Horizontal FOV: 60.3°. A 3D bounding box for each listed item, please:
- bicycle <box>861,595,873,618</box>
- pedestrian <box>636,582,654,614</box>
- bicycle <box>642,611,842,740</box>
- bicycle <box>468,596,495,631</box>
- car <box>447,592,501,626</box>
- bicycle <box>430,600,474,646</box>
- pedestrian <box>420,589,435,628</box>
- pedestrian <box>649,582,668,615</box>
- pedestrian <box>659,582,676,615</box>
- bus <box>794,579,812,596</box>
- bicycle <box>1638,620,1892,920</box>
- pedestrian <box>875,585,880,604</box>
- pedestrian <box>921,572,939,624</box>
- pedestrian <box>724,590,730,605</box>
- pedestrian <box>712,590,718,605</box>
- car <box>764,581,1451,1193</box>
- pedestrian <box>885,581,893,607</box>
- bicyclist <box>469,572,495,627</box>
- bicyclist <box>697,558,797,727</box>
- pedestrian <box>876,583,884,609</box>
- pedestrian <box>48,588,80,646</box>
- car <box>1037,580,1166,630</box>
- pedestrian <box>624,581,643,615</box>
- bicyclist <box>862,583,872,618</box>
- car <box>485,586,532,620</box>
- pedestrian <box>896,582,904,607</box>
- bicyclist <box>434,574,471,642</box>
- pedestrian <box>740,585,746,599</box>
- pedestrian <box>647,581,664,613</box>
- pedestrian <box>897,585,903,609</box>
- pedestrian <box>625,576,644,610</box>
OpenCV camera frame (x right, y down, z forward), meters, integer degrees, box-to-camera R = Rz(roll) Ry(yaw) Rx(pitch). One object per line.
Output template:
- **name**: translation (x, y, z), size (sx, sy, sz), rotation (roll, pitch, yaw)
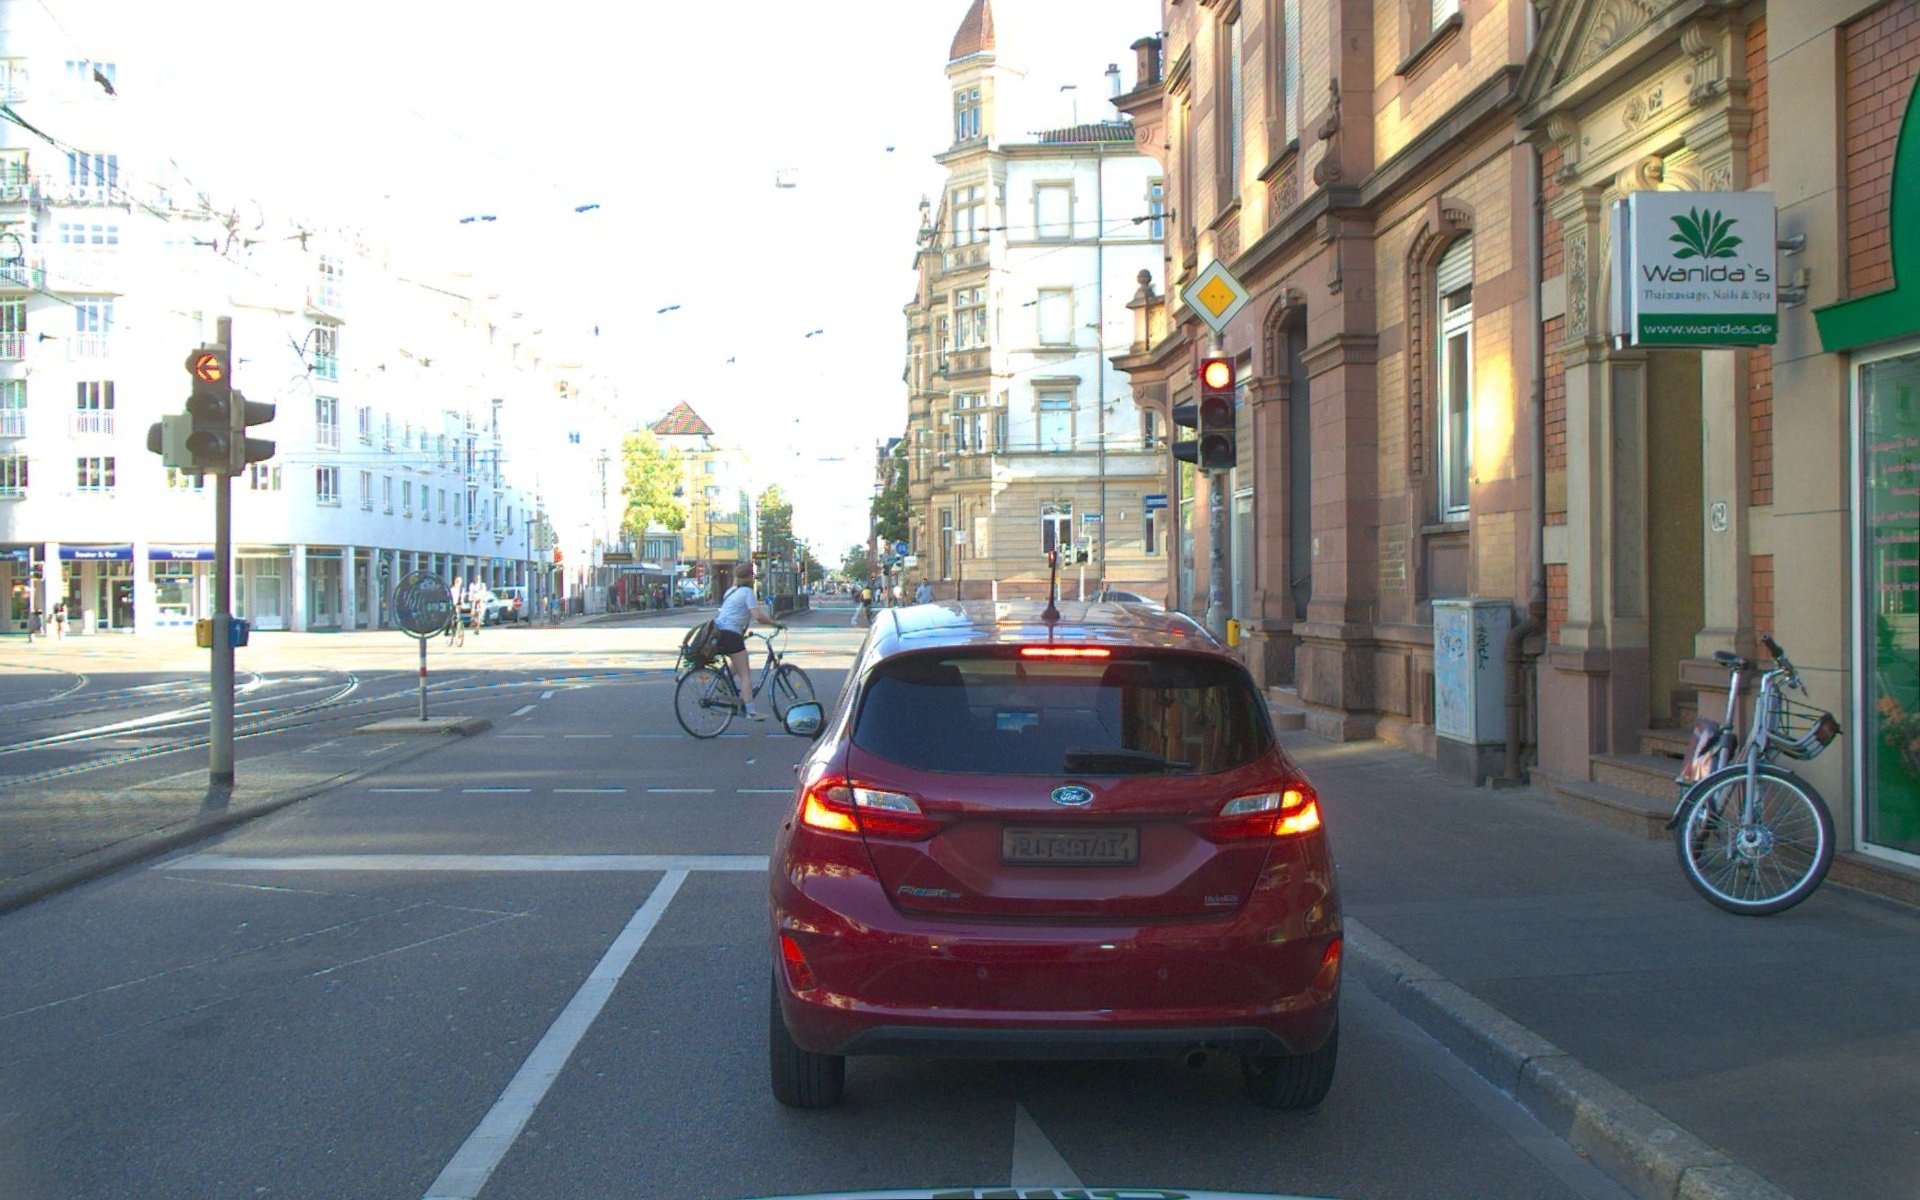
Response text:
- **bicycle**: translation (-4.555, 0.330, 81.291), size (0.515, 1.108, 1.486), rotation (-1, 0, -1)
- **pedestrian**: translation (-19.922, -0.129, 104.612), size (1.025, 2.049, 0.958), rotation (-1, 0, -6)
- **bicycle**: translation (-2.179, 0.729, 16.740), size (2.006, 1.198, 0.619), rotation (-1, 1, -41)
- **bicycle**: translation (-16.367, 0.460, 56.531), size (0.795, 1.167, 2.000), rotation (-1, 0, -18)
- **car**: translation (-23.363, 0.397, 79.626), size (1.730, 1.573, 3.459), rotation (-1, 0, -3)
- **bicycle**: translation (-13.337, 0.586, 43.465), size (0.793, 1.167, 2.045), rotation (-1, 0, -9)
- **pedestrian**: translation (-23.403, 0.377, 72.682), size (0.514, 1.711, 0.485), rotation (-1, 0, -11)
- **pedestrian**: translation (-18.724, -0.106, 102.794), size (1.025, 2.049, 0.958), rotation (-1, 0, -6)
- **pedestrian**: translation (-18.644, -0.100, 105.454), size (1.025, 2.049, 0.958), rotation (-1, 0, -6)
- **bus**: translation (-20.567, -1.637, 216.855), size (1.887, 2.049, 7.134), rotation (-1, 0, -2)
- **bicycle**: translation (3.643, 0.716, 7.627), size (0.700, 1.172, 1.656), rotation (-2, 0, 15)
- **pedestrian**: translation (-8.782, -0.622, 176.456), size (0.565, 2.049, 0.630), rotation (-1, 0, -3)
- **pedestrian**: translation (-1.197, -0.075, 66.224), size (0.638, 2.049, 0.759), rotation (-1, 0, -4)
- **pedestrian**: translation (-23.040, -0.270, 163.720), size (0.513, 1.514, 0.582), rotation (-1, 0, -2)
- **pedestrian**: translation (-24.881, -0.279, 167.907), size (0.569, 1.514, 0.525), rotation (-1, 0, -5)
- **car**: translation (0.210, 0.703, 6.087), size (1.720, 1.492, 3.941), rotation (1, 0, -5)
- **pedestrian**: translation (-5.683, -0.459, 132.734), size (0.565, 2.049, 0.631), rotation (-1, 0, 2)
- **bicyclist**: translation (-16.308, -0.012, 56.372), size (0.795, 1.853, 0.988), rotation (-1, 0, -18)
- **bicyclist**: translation (-2.154, 0.402, 16.722), size (0.725, 1.655, 0.755), rotation (-1, 1, -40)
- **pedestrian**: translation (-6.446, -0.322, 132.576), size (0.565, 2.049, 0.631), rotation (-1, 0, 2)
- **pedestrian**: translation (-31.731, 0.594, 58.554), size (0.934, 2.049, 0.930), rotation (-1, 0, -31)
- **car**: translation (4.936, 0.163, 58.088), size (4.353, 1.669, 1.704), rotation (-1, 0, -1)
- **pedestrian**: translation (-19.807, -0.133, 100.385), size (0.937, 2.049, 1.048), rotation (-1, 0, -4)
- **bicyclist**: translation (-4.559, 0.024, 81.122), size (0.489, 1.705, 0.545), rotation (-1, 0, -2)
- **car**: translation (-23.785, 0.143, 87.240), size (1.667, 1.748, 3.561), rotation (-1, 0, -4)
- **pedestrian**: translation (-4.914, -0.448, 134.667), size (0.565, 2.049, 0.631), rotation (-1, 0, 2)
- **bicyclist**: translation (-13.365, 0.212, 43.600), size (0.793, 1.756, 0.792), rotation (-1, 0, -9)
- **pedestrian**: translation (-25.760, -0.913, 196.481), size (0.619, 1.632, 0.575), rotation (-1, 0, -20)
- **pedestrian**: translation (-19.975, -0.207, 108.479), size (0.937, 2.049, 1.047), rotation (-1, 0, -6)
- **pedestrian**: translation (-4.325, -0.225, 118.648), size (0.405, 1.710, 0.484), rotation (-1, 0, -1)
- **pedestrian**: translation (-20.204, -0.424, 102.589), size (1.025, 2.049, 0.958), rotation (-1, 0, -6)
